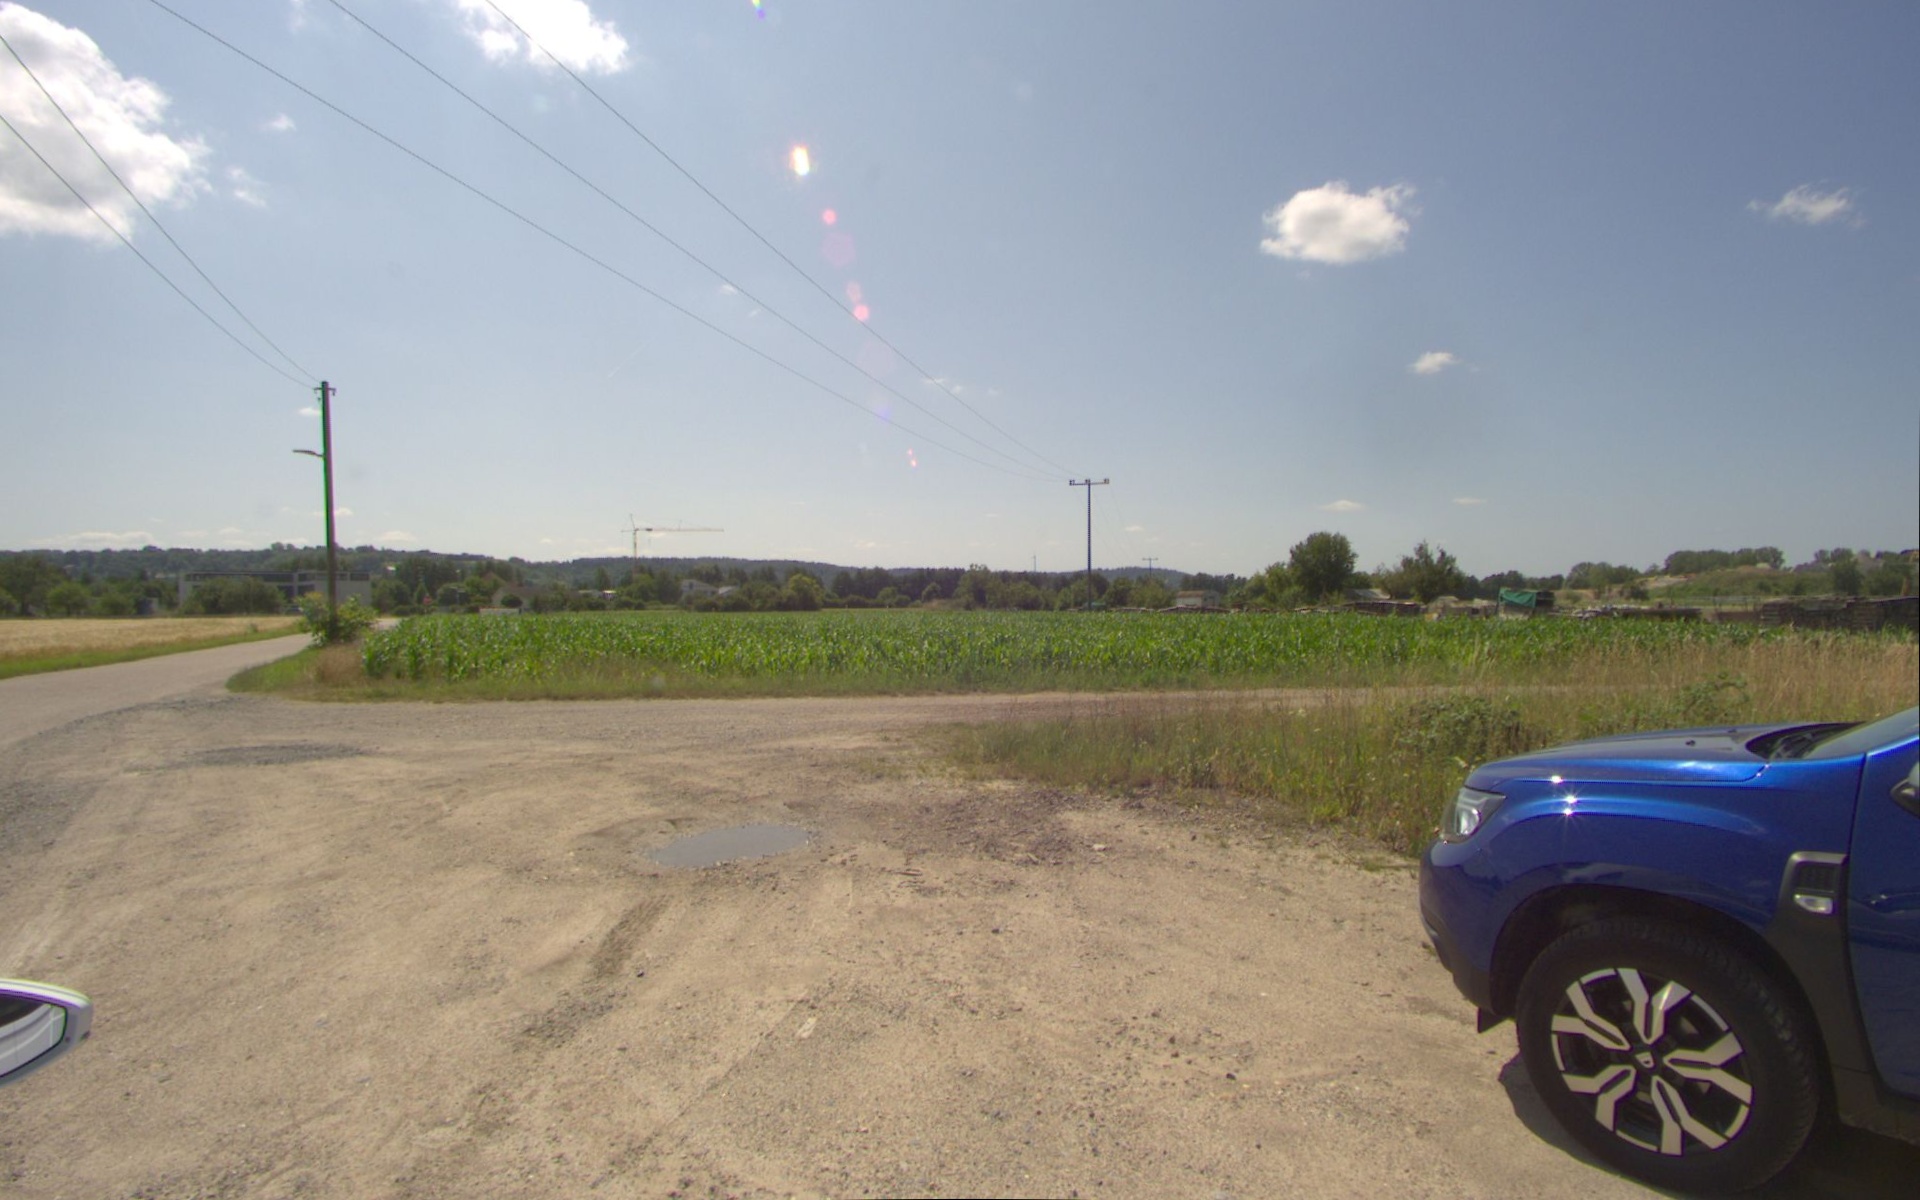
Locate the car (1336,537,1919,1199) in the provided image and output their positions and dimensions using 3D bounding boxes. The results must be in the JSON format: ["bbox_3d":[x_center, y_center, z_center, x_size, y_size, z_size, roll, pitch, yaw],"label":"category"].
[{"bbox_3d":[3.326,0.702,2.147,1.843,1.682,4.423,1,-1,-39],"label":"car"}]
